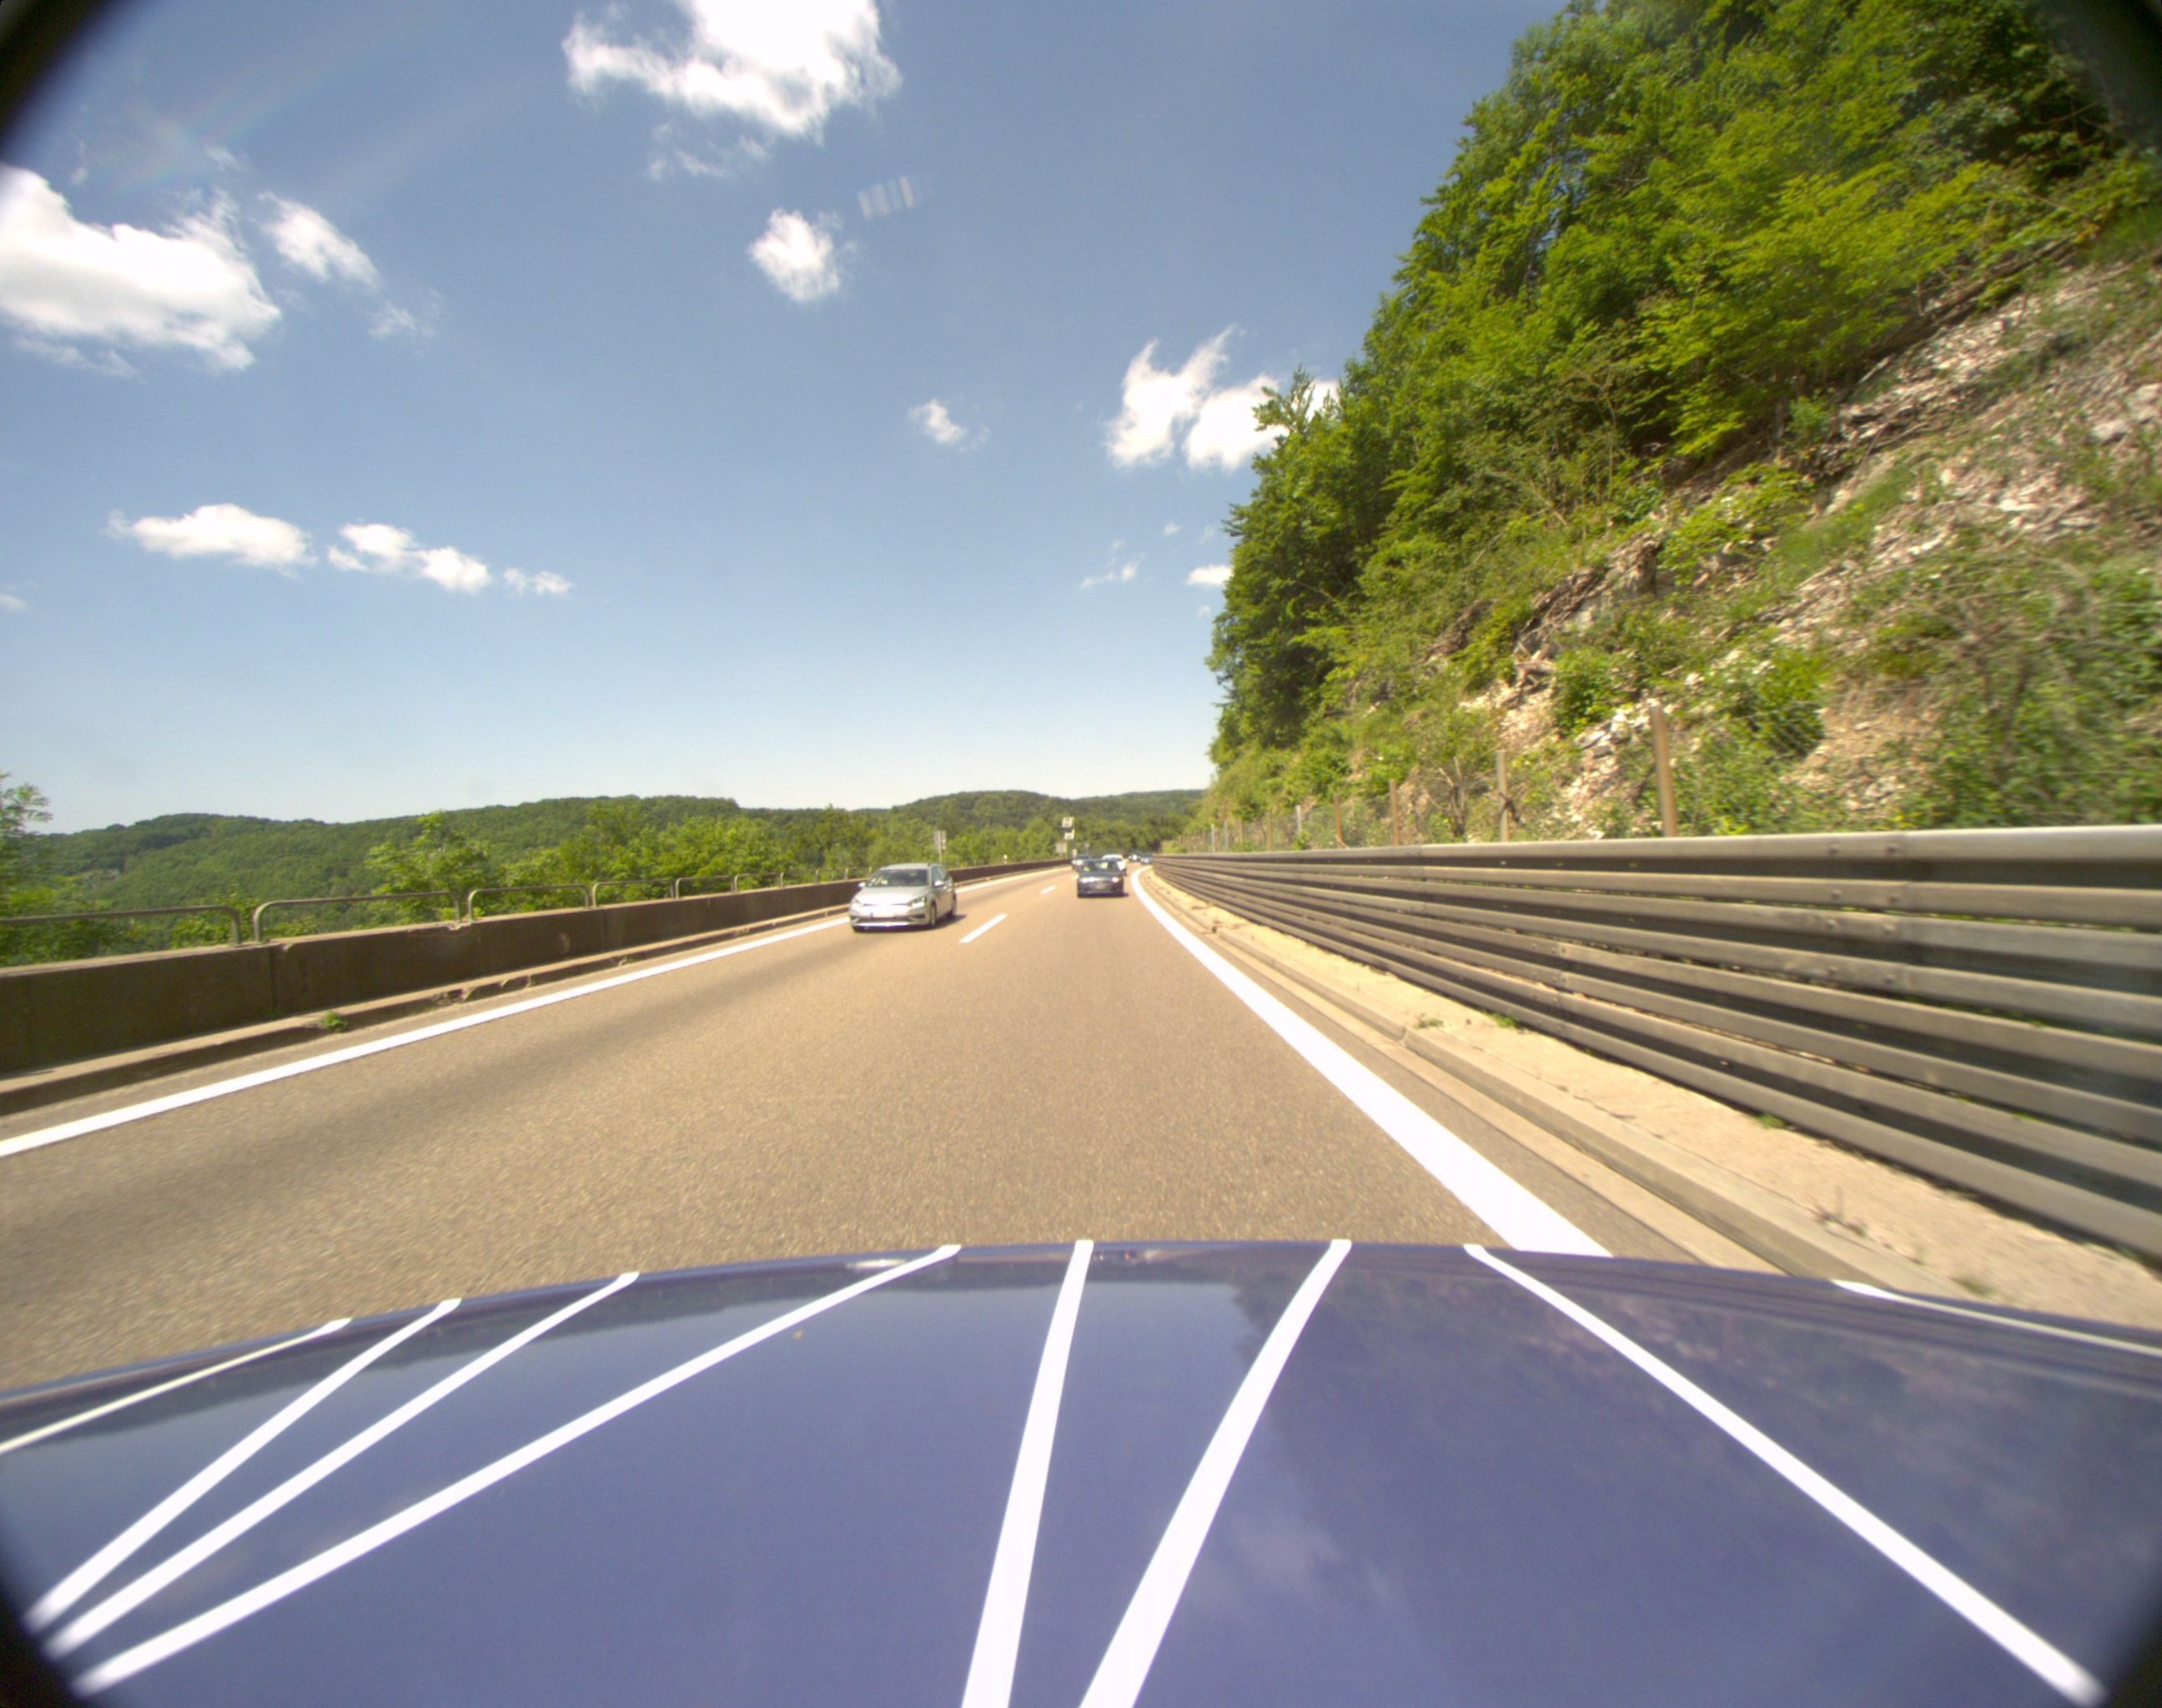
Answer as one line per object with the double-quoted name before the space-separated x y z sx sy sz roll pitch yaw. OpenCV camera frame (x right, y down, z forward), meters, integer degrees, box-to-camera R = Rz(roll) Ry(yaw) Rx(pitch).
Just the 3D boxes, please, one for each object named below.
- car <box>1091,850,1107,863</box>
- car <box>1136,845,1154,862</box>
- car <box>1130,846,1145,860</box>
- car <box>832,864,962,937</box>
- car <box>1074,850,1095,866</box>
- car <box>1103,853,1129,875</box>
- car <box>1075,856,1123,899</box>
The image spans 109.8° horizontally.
"car" 2.360 0.271 99.535 1.775 1.565 4.001 -2 0 5
"car" 8.185 -0.100 97.254 1.997 2.002 4.002 -2 0 8
"car" 8.517 -0.202 114.676 1.997 2.002 4.002 -2 0 6
"car" -4.151 0.983 17.900 1.973 1.370 4.293 -1 1 0
"car" 0.364 0.415 77.418 1.875 1.565 4.001 -2 0 4
"car" 2.528 0.715 54.447 1.702 1.432 4.044 0 1 5
"car" 0.739 0.826 28.715 1.668 1.415 4.044 -1 1 3
